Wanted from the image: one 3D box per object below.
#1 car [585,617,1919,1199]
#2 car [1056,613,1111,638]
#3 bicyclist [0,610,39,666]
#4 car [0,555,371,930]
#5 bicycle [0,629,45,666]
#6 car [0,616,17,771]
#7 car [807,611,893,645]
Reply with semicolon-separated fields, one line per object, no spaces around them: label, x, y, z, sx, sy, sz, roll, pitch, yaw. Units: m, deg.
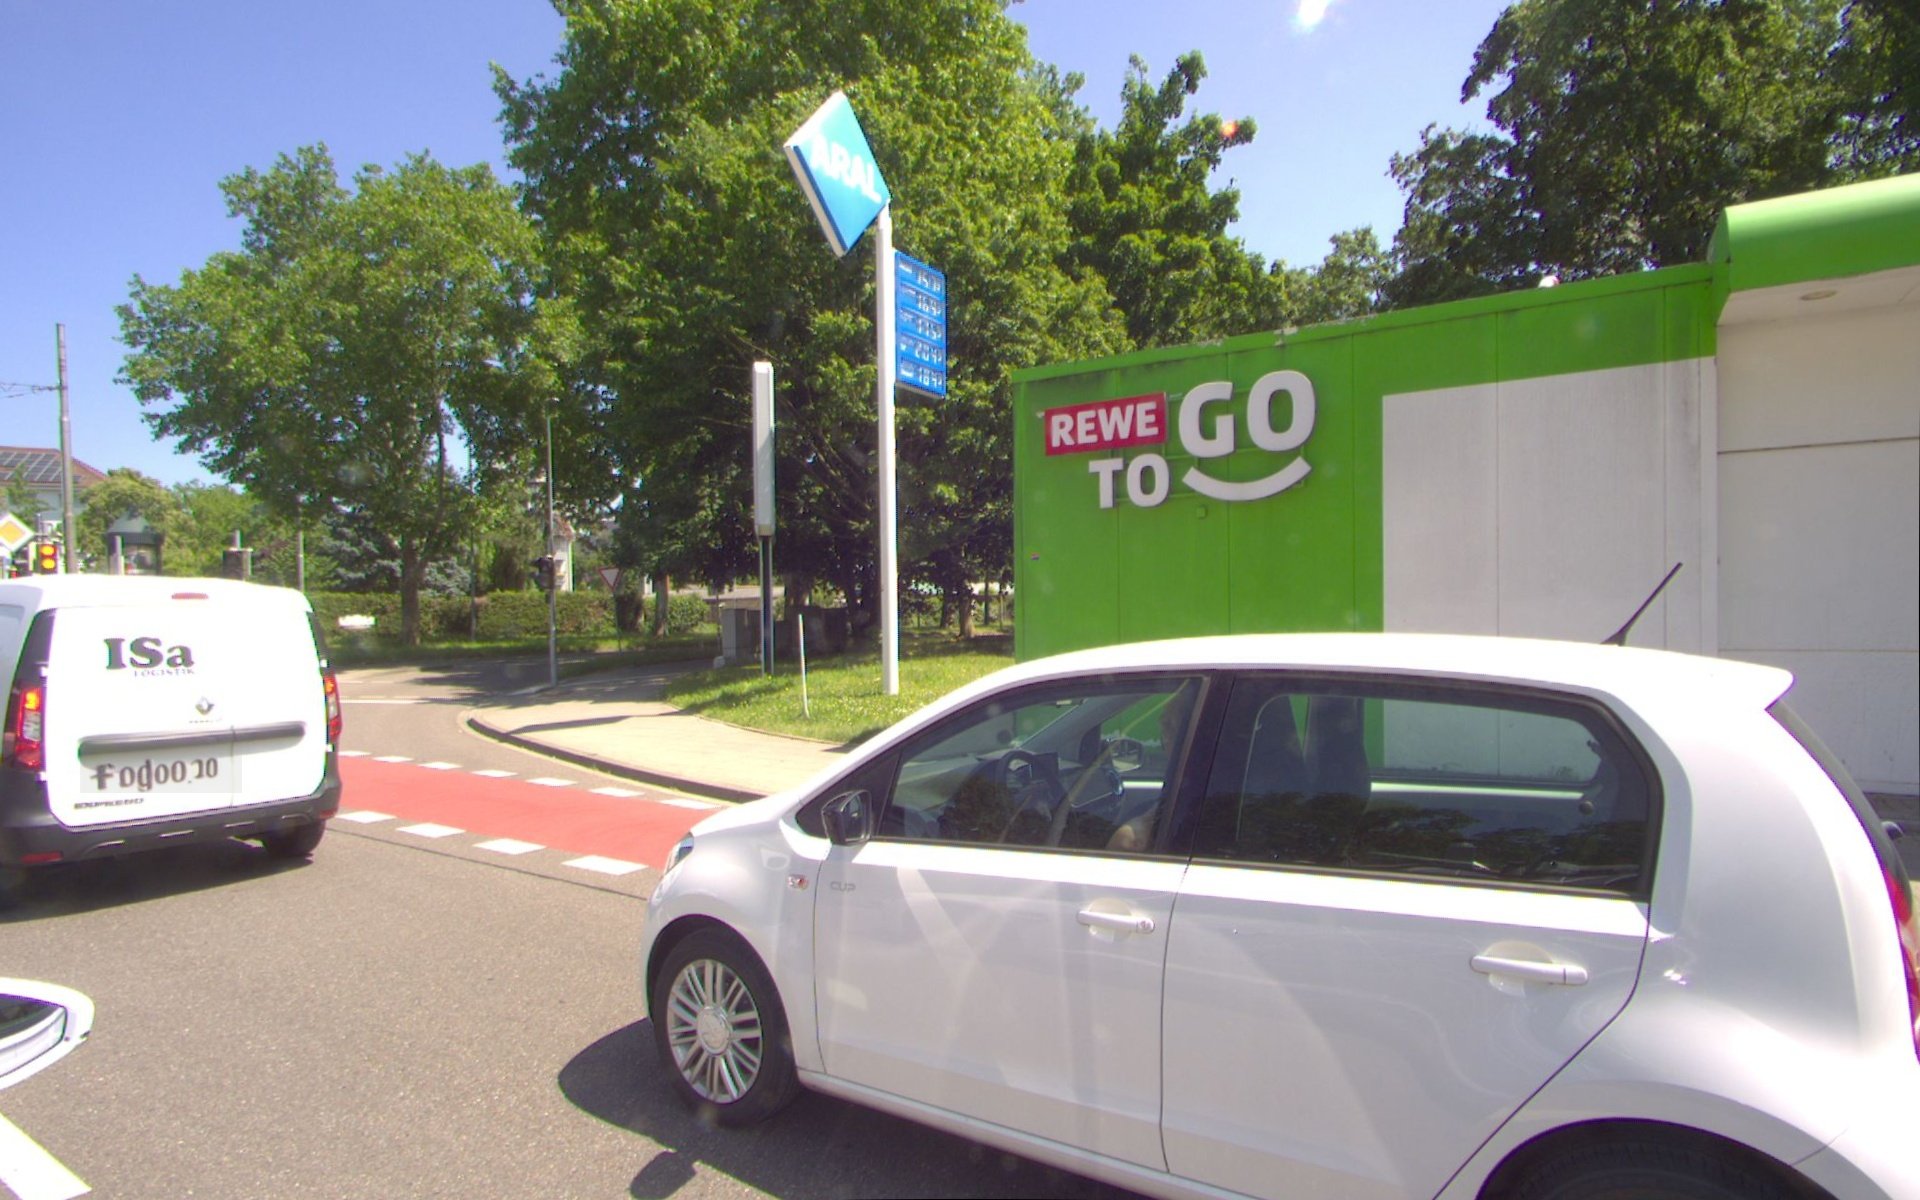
car;0.645;0.804;2.986;3.387;1.466;1.606;0;-1;33
car;8.097;1.670;65.194;1.679;1.617;3.970;0;-1;40
bicyclist;-30.998;1.244;32.825;0.714;1.811;0.974;-1;0;24
car;-5.872;0.745;6.630;4.005;1.811;1.725;-1;-2;31
bicycle;-31.035;1.539;32.804;1.924;1.174;0.892;-1;0;24
car;-11.919;0.941;10.652;3.943;1.589;1.832;0;-1;32
car;-5.201;1.309;47.617;1.733;1.539;3.968;-2;-1;41
